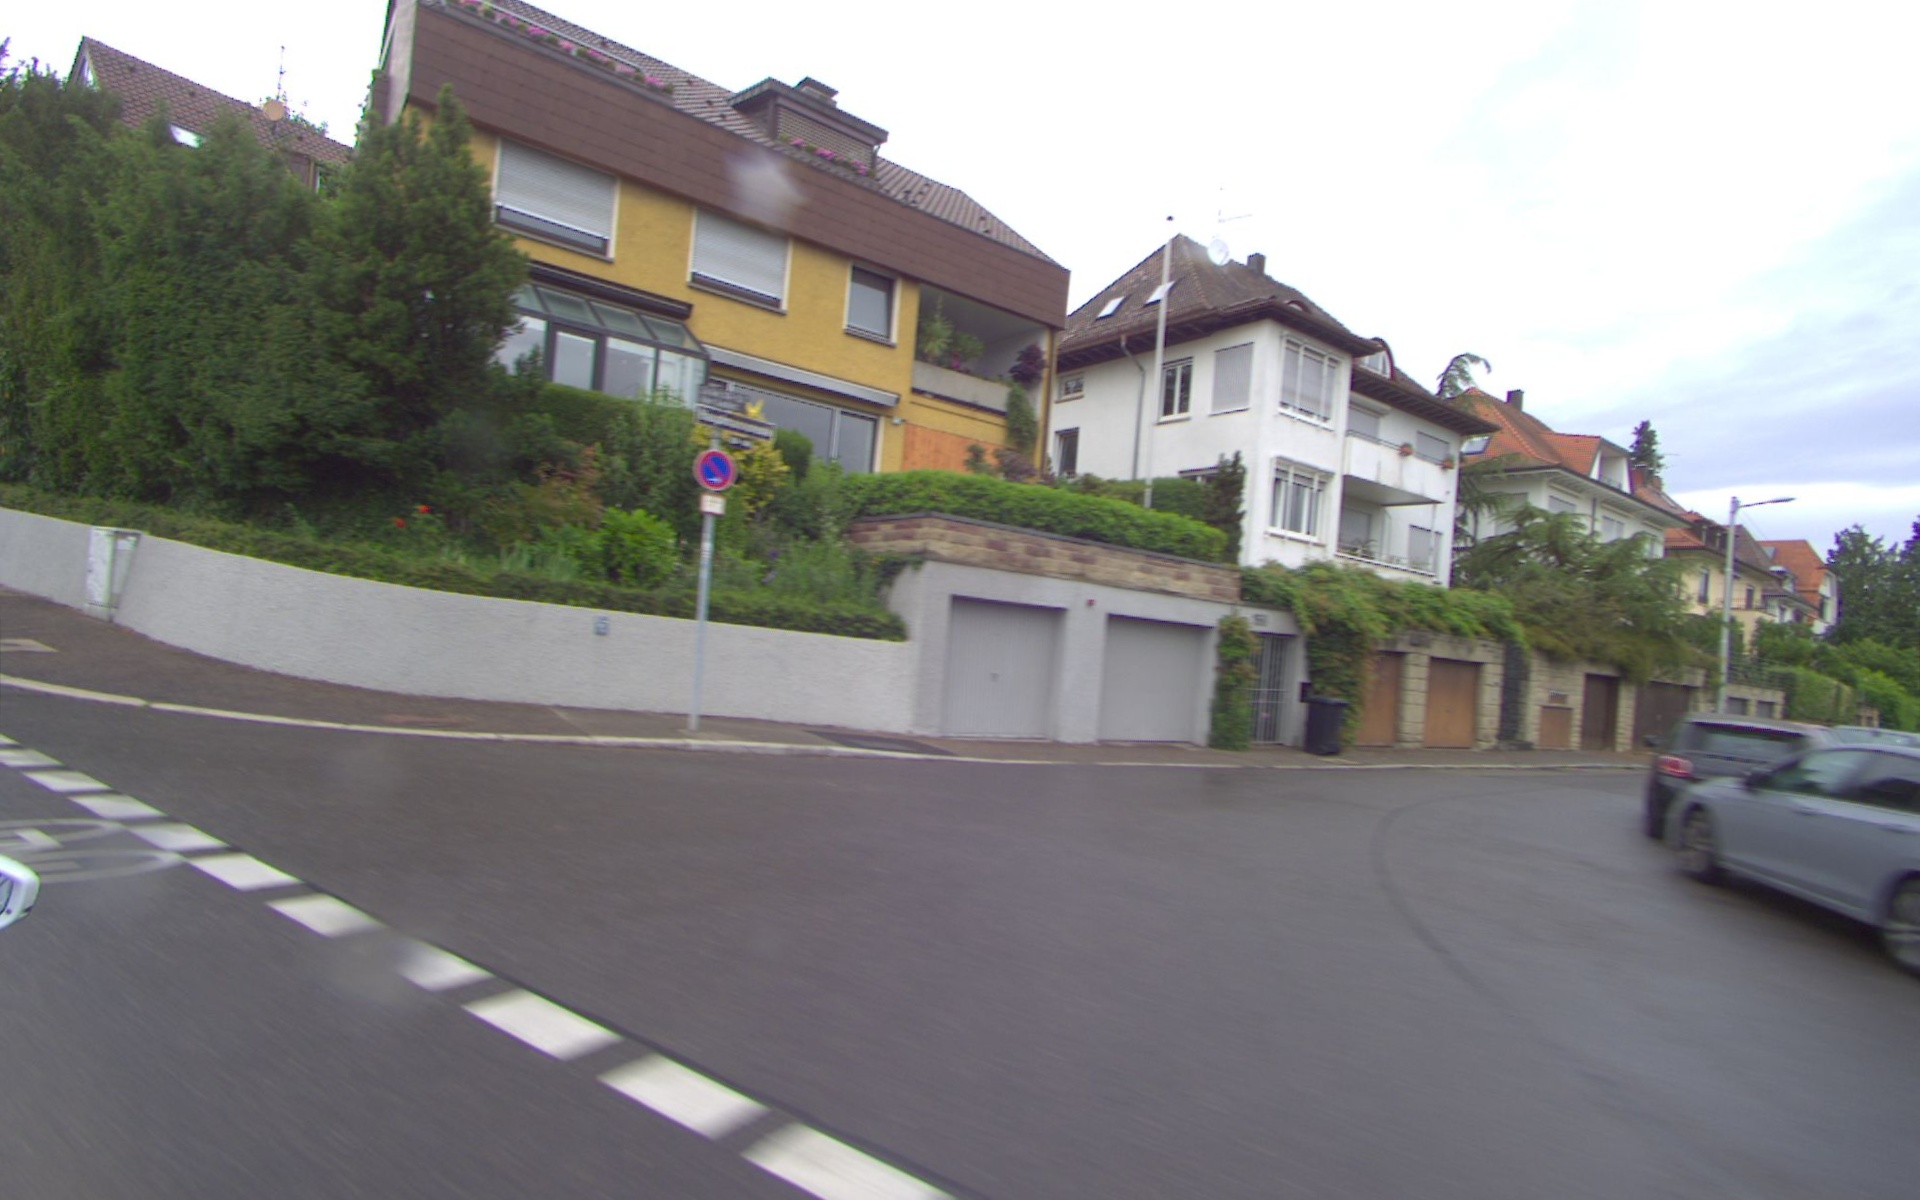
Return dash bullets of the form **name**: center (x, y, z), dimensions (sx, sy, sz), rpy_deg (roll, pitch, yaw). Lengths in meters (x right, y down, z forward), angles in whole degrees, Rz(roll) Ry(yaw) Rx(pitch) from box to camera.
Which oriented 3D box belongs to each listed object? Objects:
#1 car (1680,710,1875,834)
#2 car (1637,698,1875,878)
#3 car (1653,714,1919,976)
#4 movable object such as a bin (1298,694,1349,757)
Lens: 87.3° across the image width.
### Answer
- **car**: center (12.956, 2.652, 15.883), dimensions (3.577, 1.506, 1.744), rpy_deg (7, -2, -41)
- **car**: center (9.340, 2.083, 12.100), dimensions (1.812, 1.507, 3.592), rpy_deg (8, 0, 34)
- **car**: center (7.215, 1.812, 7.462), dimensions (1.767, 1.442, 4.060), rpy_deg (6, -1, 10)
- **movable object such as a bin**: center (6.704, 2.303, 18.555), dimensions (0.674, 1.031, 0.529), rpy_deg (8, 0, 31)
